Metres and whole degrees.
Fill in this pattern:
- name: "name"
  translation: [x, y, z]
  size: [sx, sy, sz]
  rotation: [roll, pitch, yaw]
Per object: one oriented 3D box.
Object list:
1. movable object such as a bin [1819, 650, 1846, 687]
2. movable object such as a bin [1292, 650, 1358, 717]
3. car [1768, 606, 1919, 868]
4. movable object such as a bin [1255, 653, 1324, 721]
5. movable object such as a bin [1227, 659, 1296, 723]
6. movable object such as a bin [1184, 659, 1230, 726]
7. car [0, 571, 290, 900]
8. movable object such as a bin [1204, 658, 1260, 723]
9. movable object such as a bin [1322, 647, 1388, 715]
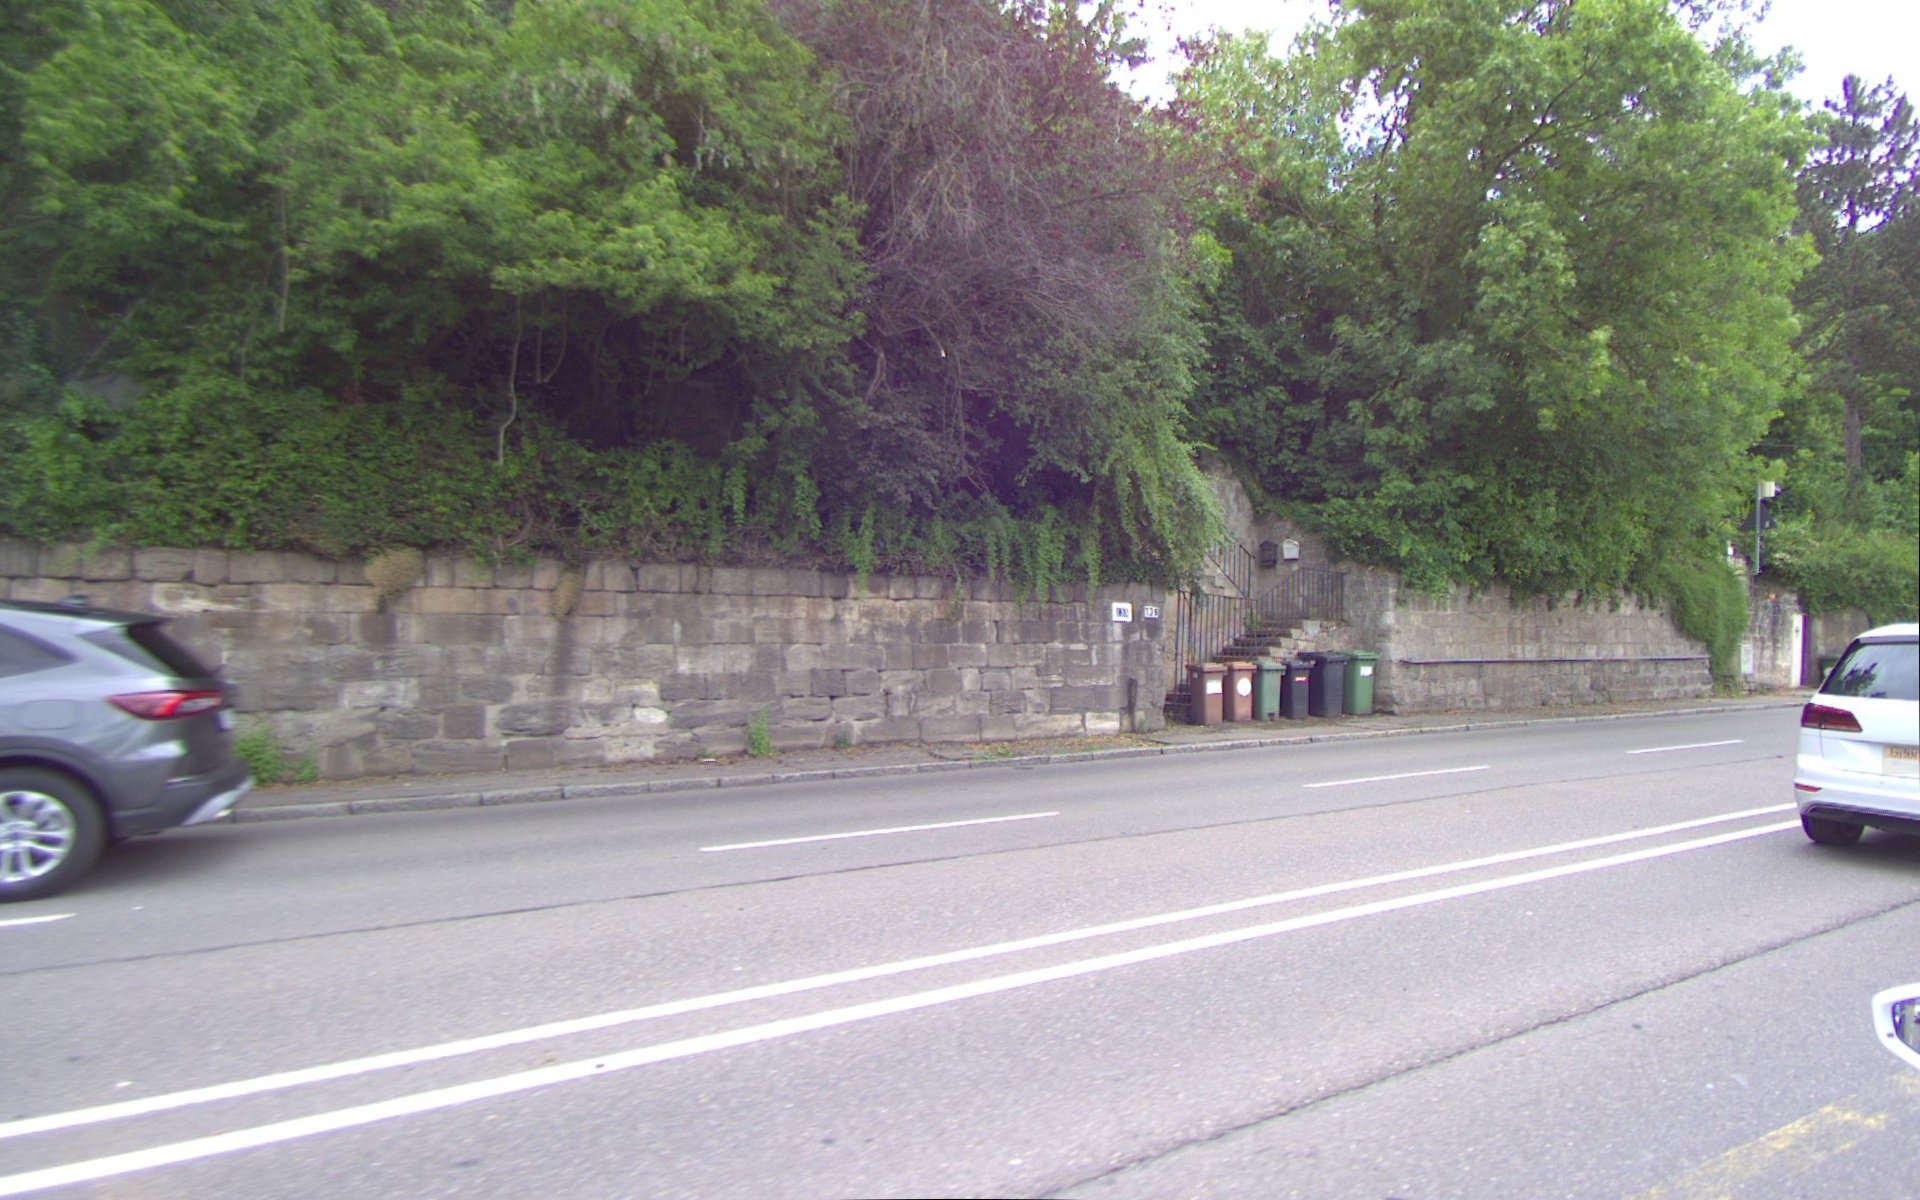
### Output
- name: "movable object such as a bin"
  translation: [23.825, 1.856, 27.422]
  size: [0.364, 0.984, 0.474]
  rotation: [2, 0, -34]
- name: "movable object such as a bin"
  translation: [6.104, 1.380, 16.799]
  size: [0.710, 1.075, 0.767]
  rotation: [1, -2, -33]
- name: "car"
  translation: [7.630, 0.865, 7.051]
  size: [4.226, 1.575, 1.712]
  rotation: [1, -2, -31]
- name: "movable object such as a bin"
  translation: [5.409, 1.409, 16.503]
  size: [0.615, 1.048, 0.893]
  rotation: [1, -2, -33]
- name: "movable object such as a bin"
  translation: [4.863, 1.449, 16.212]
  size: [0.587, 0.958, 0.911]
  rotation: [1, -2, -33]
- name: "movable object such as a bin"
  translation: [3.782, 1.403, 15.377]
  size: [0.469, 0.978, 0.514]
  rotation: [1, -2, -33]
- name: "car"
  translation: [-6.413, 0.694, 5.482]
  size: [4.417, 1.720, 1.807]
  rotation: [2, -2, -30]
- name: "movable object such as a bin"
  translation: [4.315, 1.420, 15.943]
  size: [0.537, 0.978, 0.670]
  rotation: [1, -2, -33]
- name: "movable object such as a bin"
  translation: [6.745, 1.364, 17.148]
  size: [0.701, 1.085, 0.783]
  rotation: [0, -1, -33]
